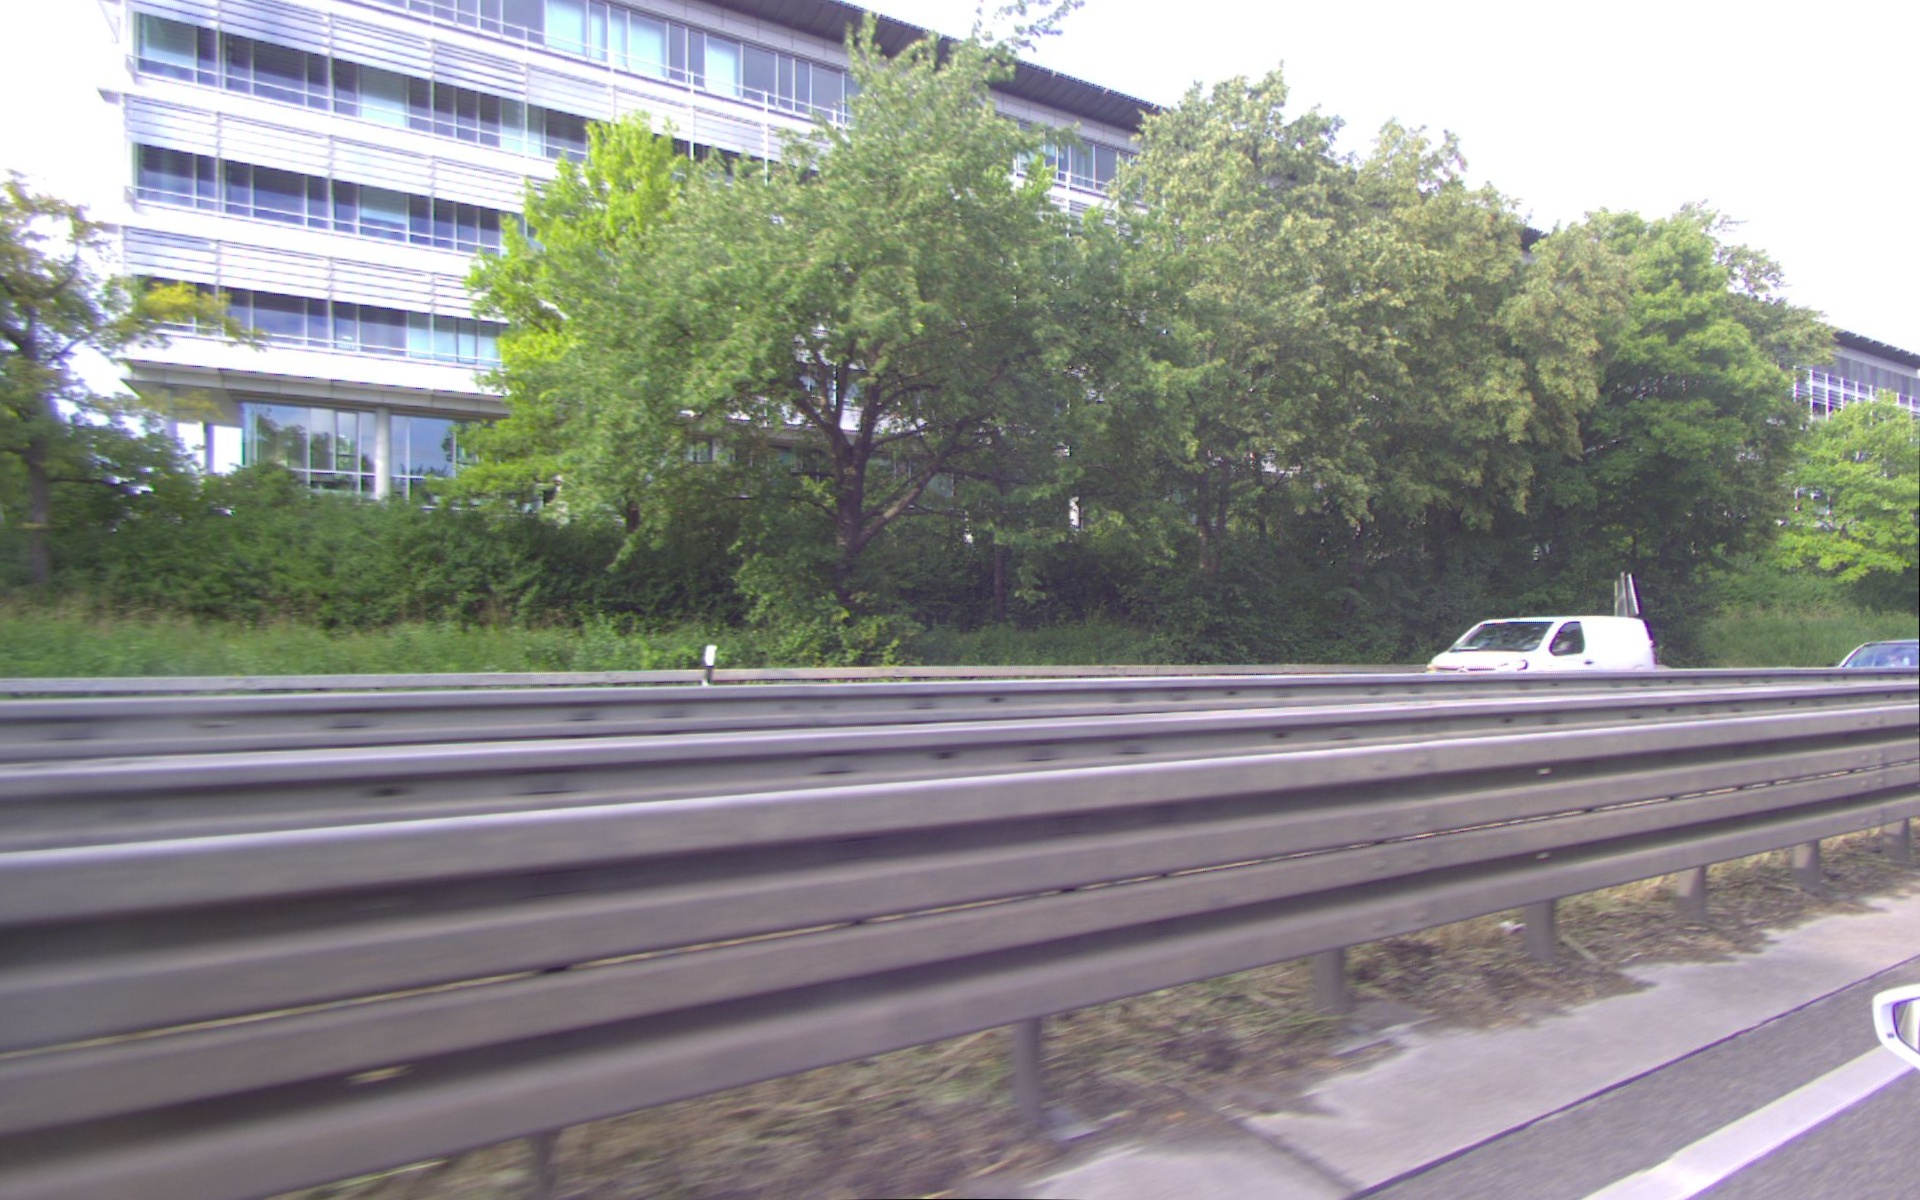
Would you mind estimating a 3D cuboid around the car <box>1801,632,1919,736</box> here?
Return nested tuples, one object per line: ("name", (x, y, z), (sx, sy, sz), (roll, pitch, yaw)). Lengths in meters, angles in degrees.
("car", (15.365, 1.287, 16.166), (3.603, 1.506, 1.674), (1, -1, -30))

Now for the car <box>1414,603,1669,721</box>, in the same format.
("car", (10.403, 1.043, 17.900), (4.565, 1.880, 1.860), (1, -1, -29))
